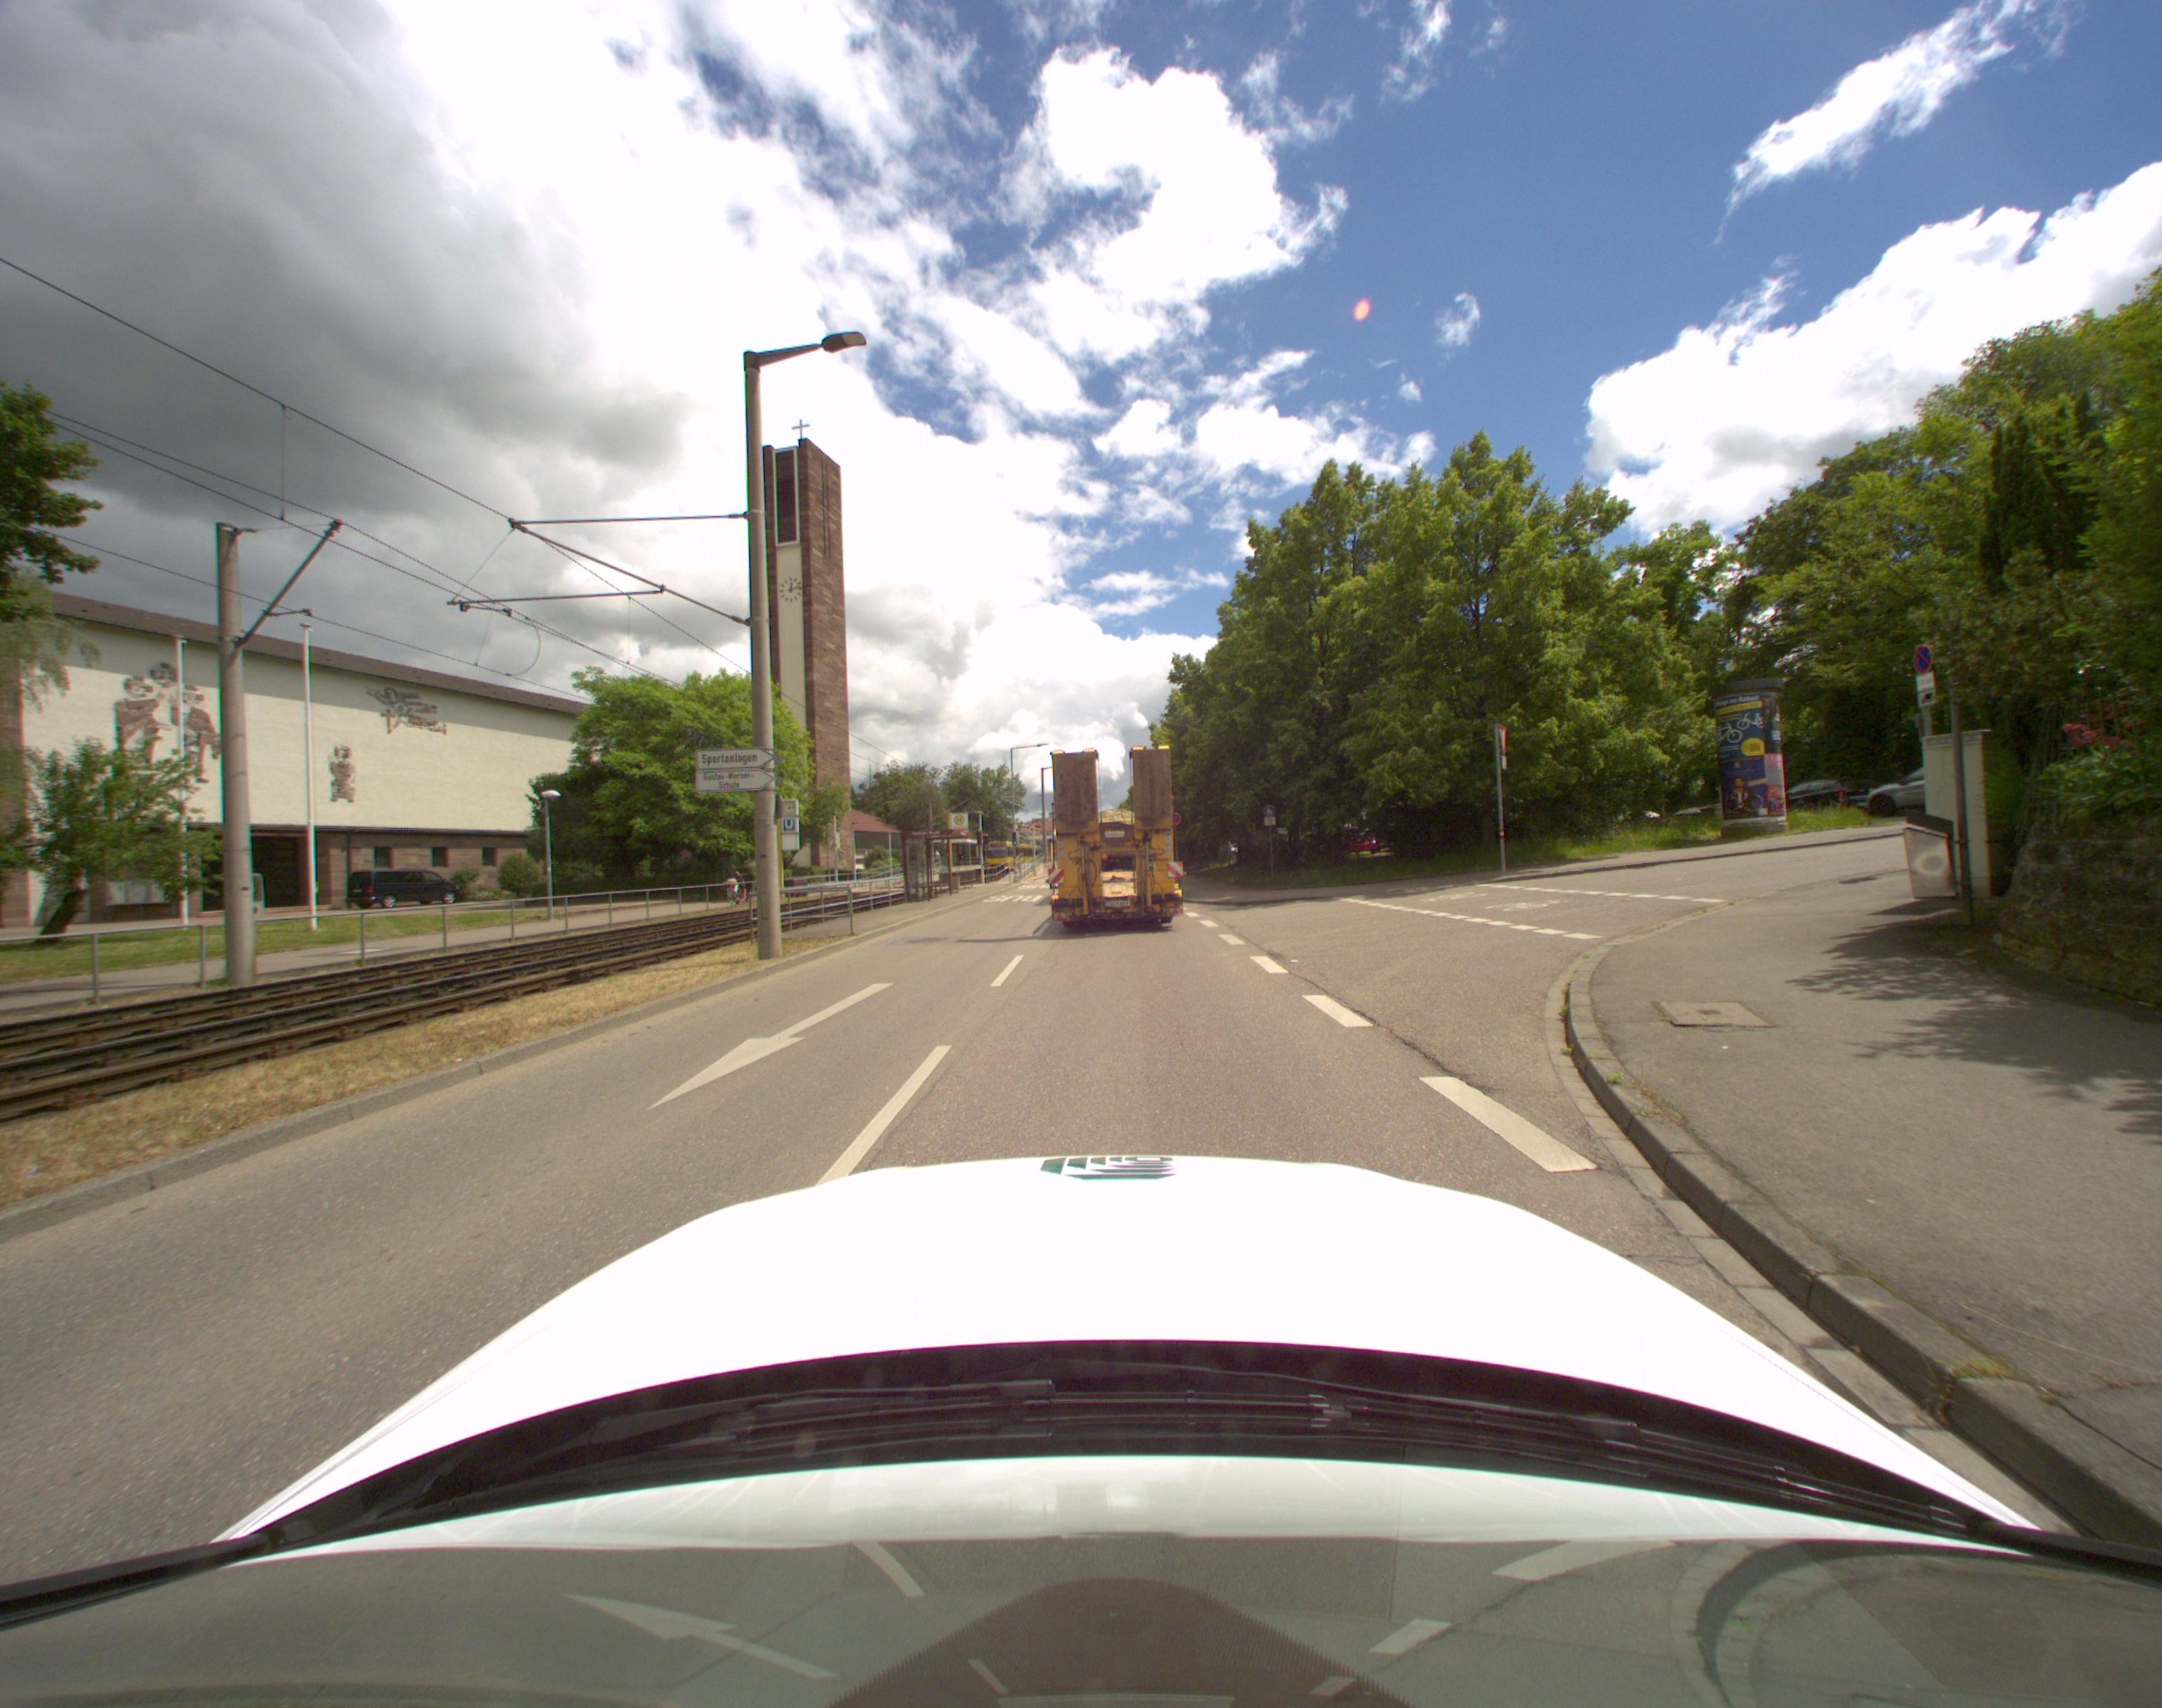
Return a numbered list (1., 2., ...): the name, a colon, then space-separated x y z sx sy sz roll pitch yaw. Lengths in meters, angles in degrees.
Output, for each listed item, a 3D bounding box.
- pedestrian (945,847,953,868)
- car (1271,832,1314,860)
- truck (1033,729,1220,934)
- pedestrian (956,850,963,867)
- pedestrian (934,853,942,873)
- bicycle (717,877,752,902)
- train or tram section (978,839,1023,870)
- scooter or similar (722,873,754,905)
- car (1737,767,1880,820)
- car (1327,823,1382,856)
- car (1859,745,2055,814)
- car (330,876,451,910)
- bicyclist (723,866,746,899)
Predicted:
1. pedestrian: -13.019 0.342 80.344 0.710 2.014 0.731 0 -1 -1
2. car: 13.299 -0.473 51.372 1.621 1.514 4.140 -6 -1 1
3. truck: 0.758 -0.385 22.132 3.392 3.732 13.732 -2 0 -1
4. pedestrian: -12.205 0.438 81.818 0.637 1.707 0.646 0 -1 1
5. pedestrian: -13.354 0.840 76.010 0.582 1.778 0.576 0 -1 1
6. bicycle: -15.021 1.532 35.359 0.635 0.994 1.929 0 0 1
7. train or tram section: -9.534 0.117 99.302 3.096 3.465 18.830 0 0 1
8. scooter or similar: -14.142 1.418 33.614 0.647 1.237 1.402 -1 0 2
9. car: 26.490 -2.150 29.855 1.631 1.469 3.983 -5 0 1
10. car: 14.287 -0.726 42.769 1.655 1.500 3.664 -5 0 1
11. car: 26.629 -2.210 24.984 1.631 1.585 3.983 -5 0 1
12. car: -36.379 2.020 43.057 1.977 1.574 4.498 -1 0 19
13. bicyclist: -15.087 1.229 35.463 0.631 1.429 0.790 0 -1 1
